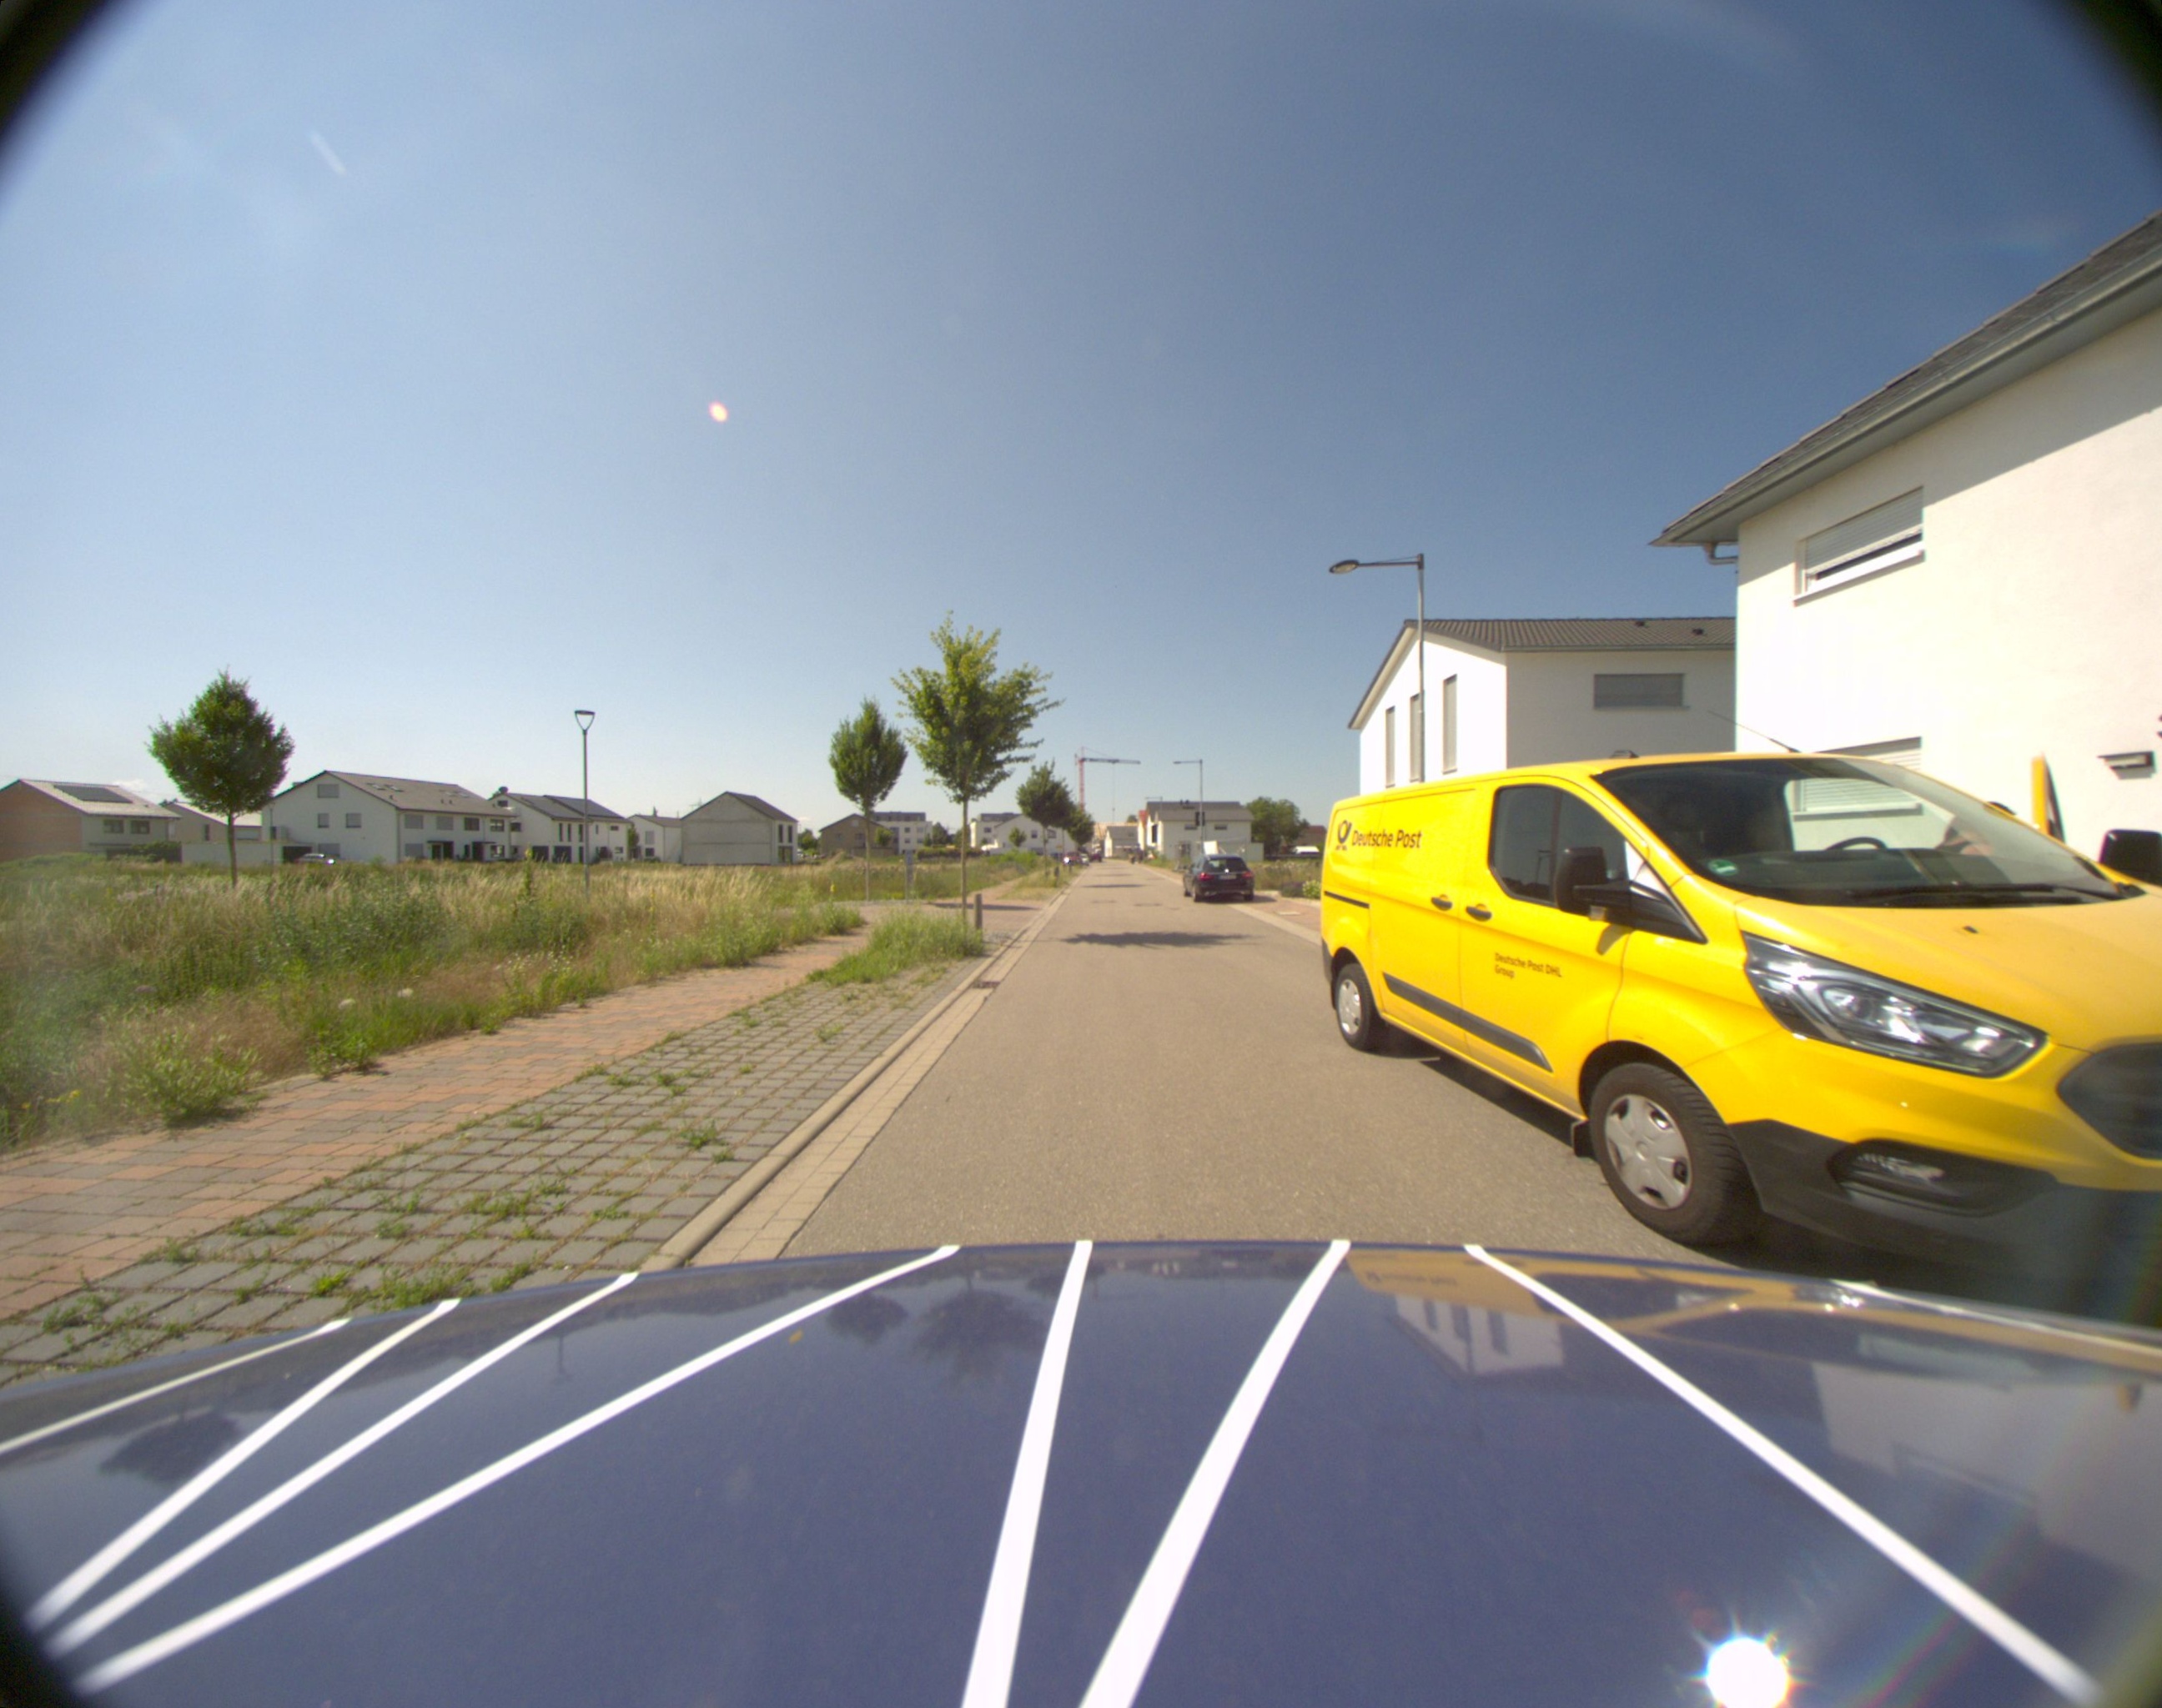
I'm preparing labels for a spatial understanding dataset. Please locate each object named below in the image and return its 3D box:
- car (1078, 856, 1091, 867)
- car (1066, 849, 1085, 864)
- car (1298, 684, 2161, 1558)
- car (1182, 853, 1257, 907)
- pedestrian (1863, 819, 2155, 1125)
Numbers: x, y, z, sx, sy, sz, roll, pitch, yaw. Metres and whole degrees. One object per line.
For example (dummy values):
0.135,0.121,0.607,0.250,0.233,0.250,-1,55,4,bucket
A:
0.454,0.926,95.613,1.493,1.389,3.272,-1,0,1,car
-0.512,0.250,75.894,1.768,1.483,4.000,-1,0,1,car
2.951,0.586,4.198,1.889,2.002,4.839,-1,0,-3,car
4.292,0.752,24.157,1.694,1.464,4.445,-2,0,2,car
5.414,0.663,4.488,0.931,1.675,0.537,-3,1,11,pedestrian
